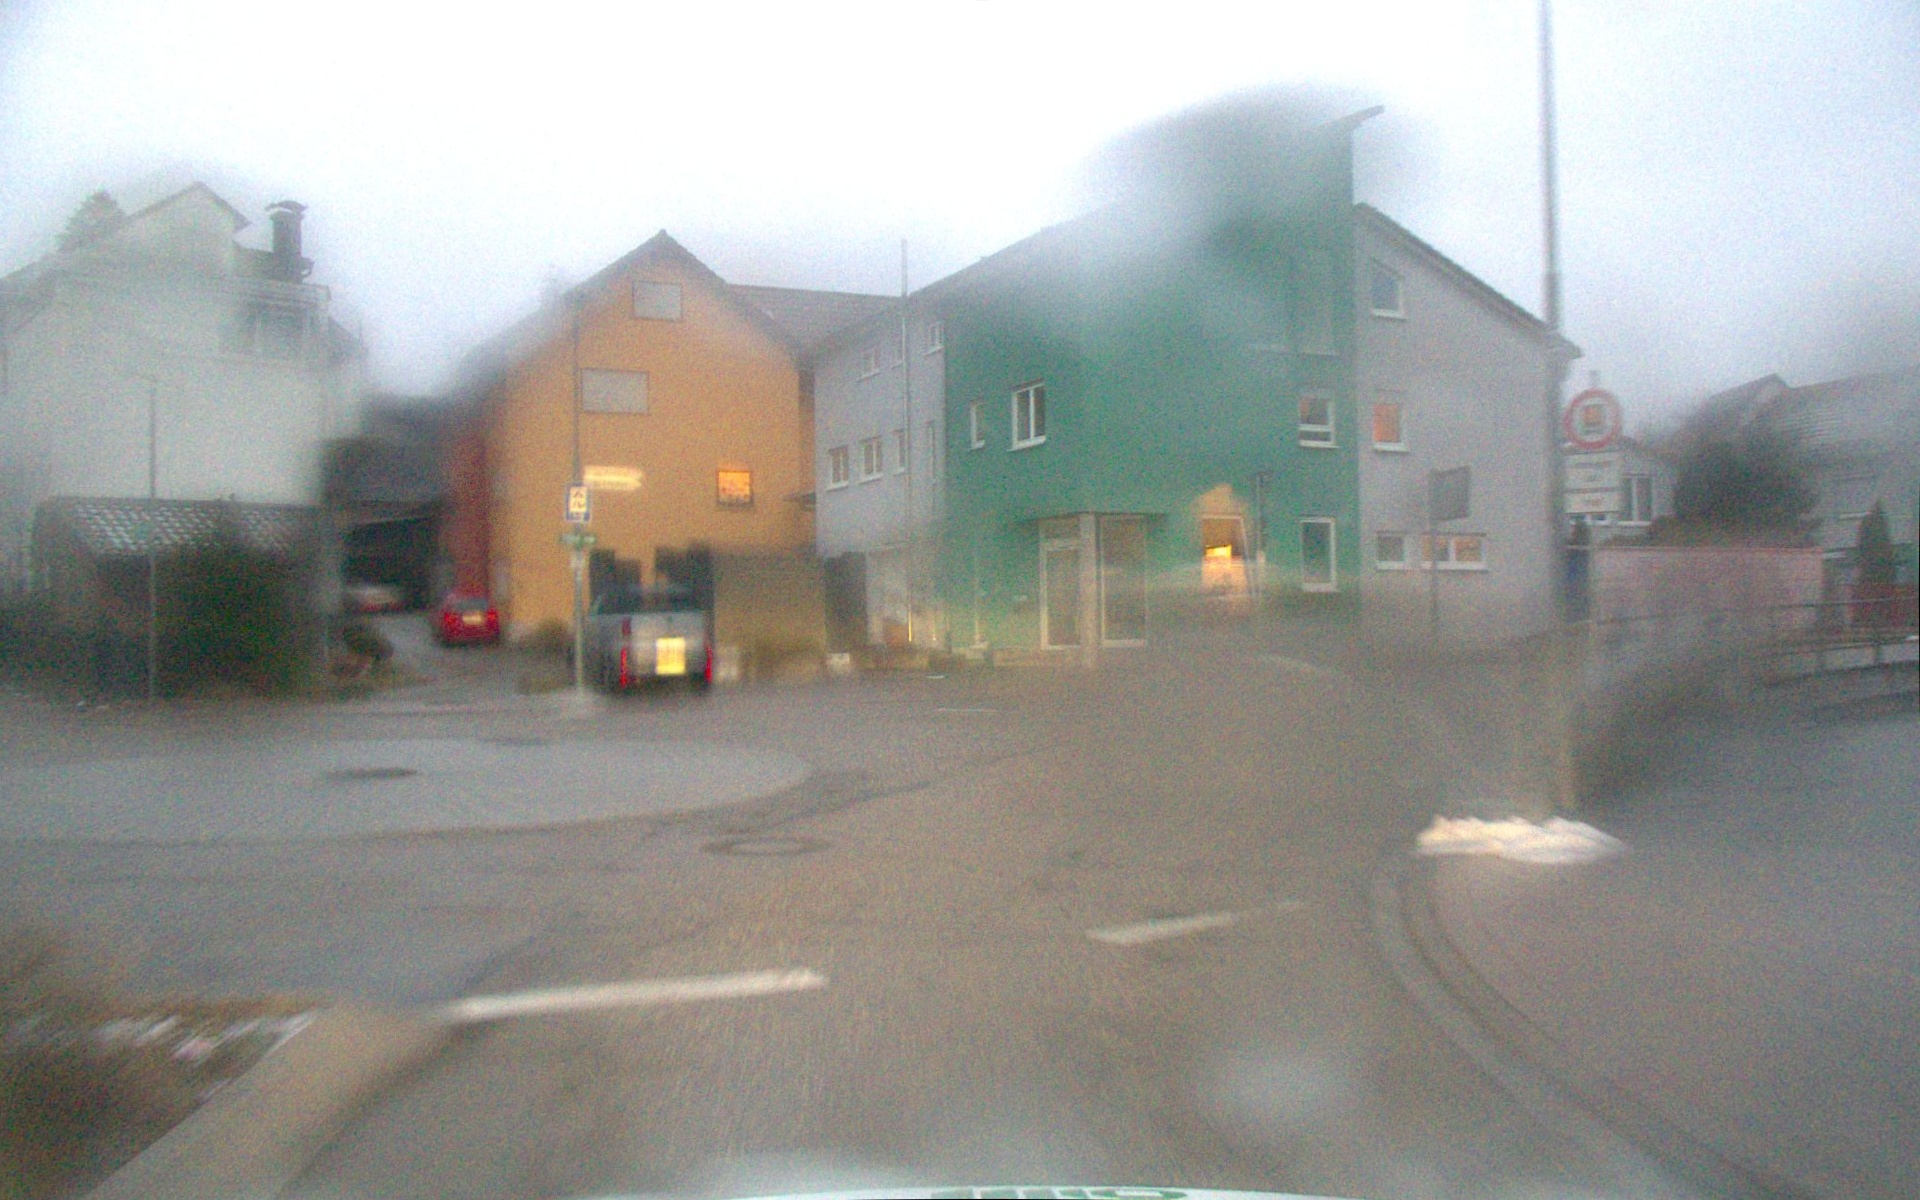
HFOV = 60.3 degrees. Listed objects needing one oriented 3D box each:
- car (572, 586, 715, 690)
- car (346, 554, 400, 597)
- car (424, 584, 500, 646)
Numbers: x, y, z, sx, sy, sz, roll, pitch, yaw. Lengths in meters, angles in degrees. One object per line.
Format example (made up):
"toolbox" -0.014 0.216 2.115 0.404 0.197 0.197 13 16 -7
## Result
"car" -5.648 0.602 29.179 1.963 1.673 3.979 0 1 -19
"car" -23.622 -0.990 66.704 1.963 1.673 3.979 0 1 -19
"car" -14.260 0.385 47.256 1.963 1.673 3.979 0 1 -19
